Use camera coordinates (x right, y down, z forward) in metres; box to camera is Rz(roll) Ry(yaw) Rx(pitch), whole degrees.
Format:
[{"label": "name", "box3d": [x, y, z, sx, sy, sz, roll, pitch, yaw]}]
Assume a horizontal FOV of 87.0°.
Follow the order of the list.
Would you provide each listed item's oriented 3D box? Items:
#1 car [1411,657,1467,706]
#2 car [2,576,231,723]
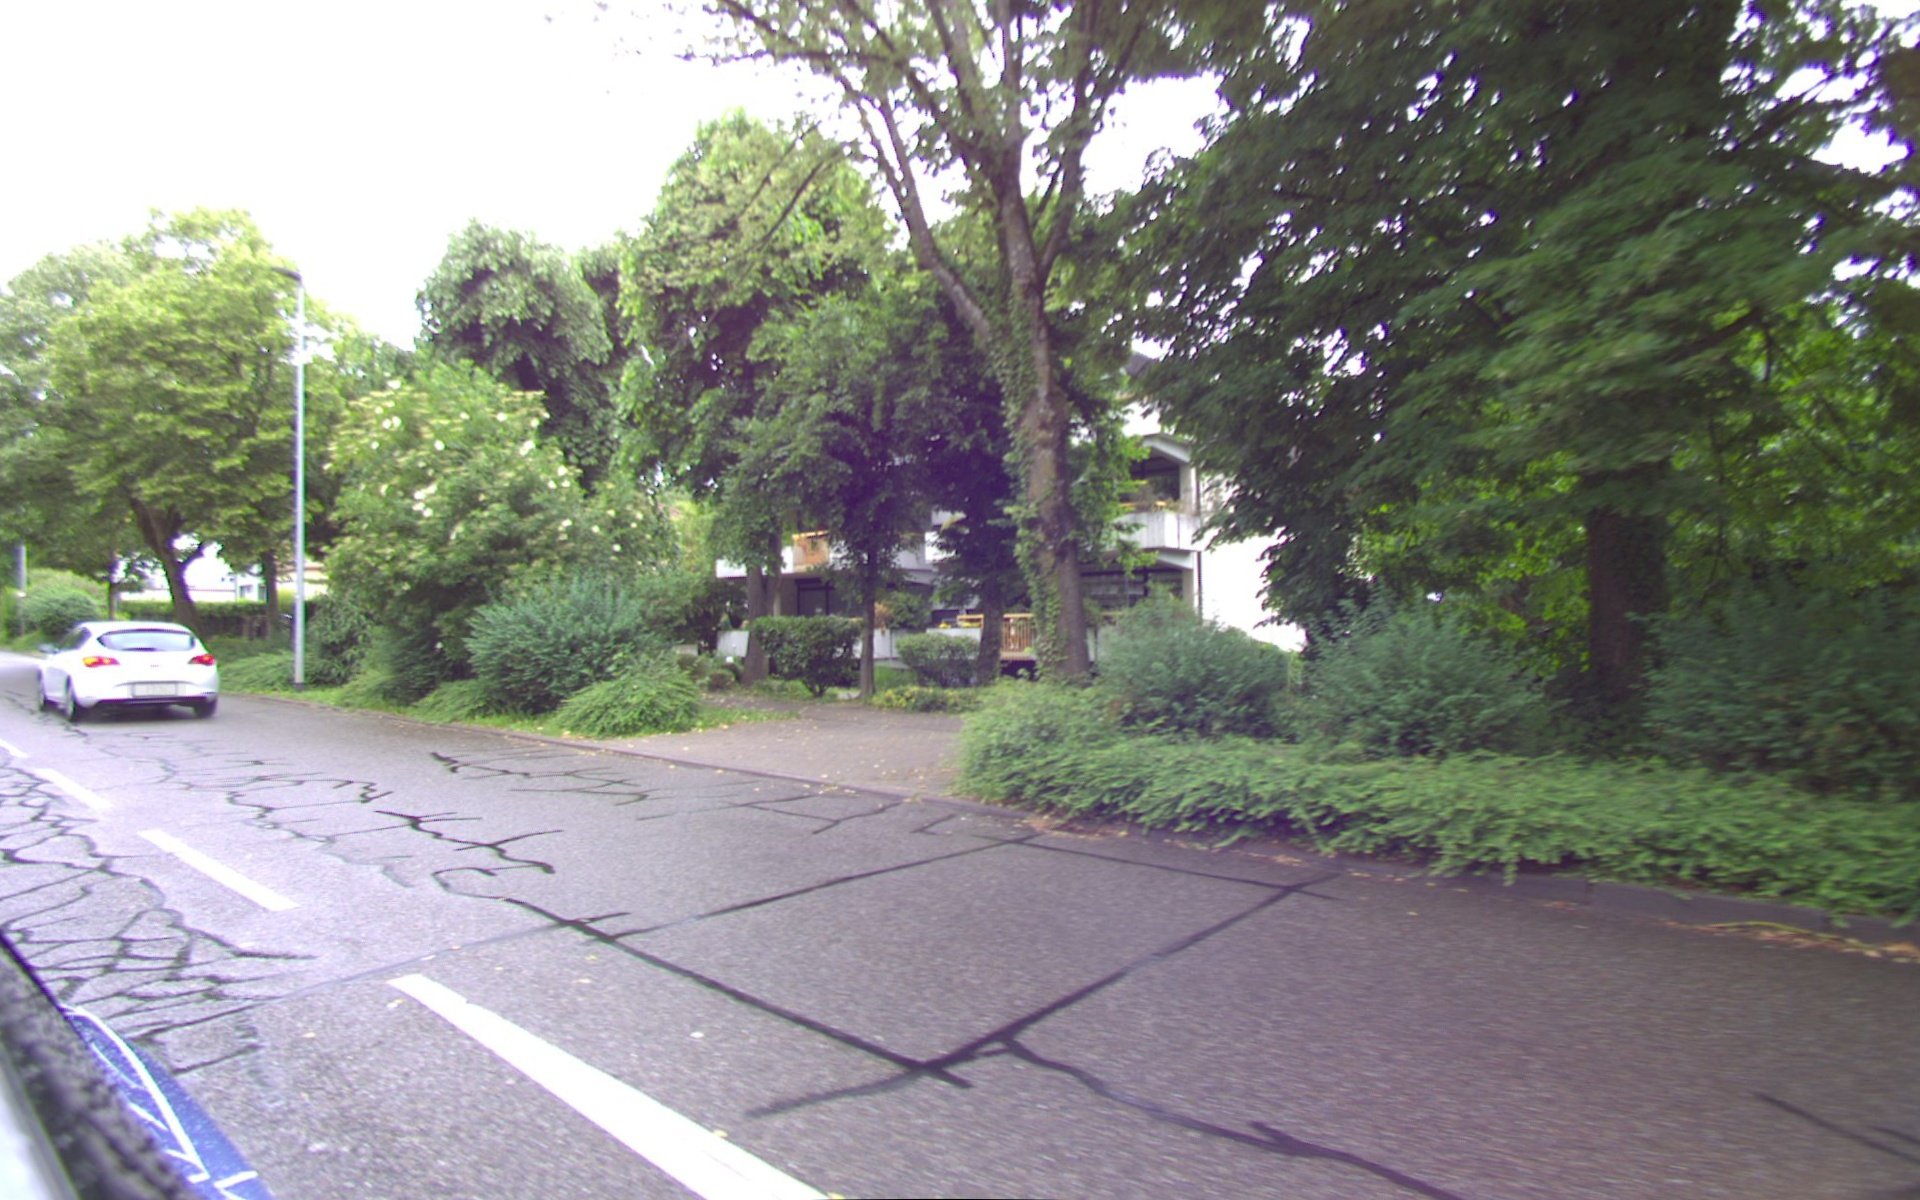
[{"label": "car", "box3d": [20.485, 3.441, 43.211, 1.818, 1.730, 3.959, -1, 0, 30]}, {"label": "car", "box3d": [-13.547, 0.762, 16.159, 4.569, 2.029, 1.973, -2, -3, 40]}]
